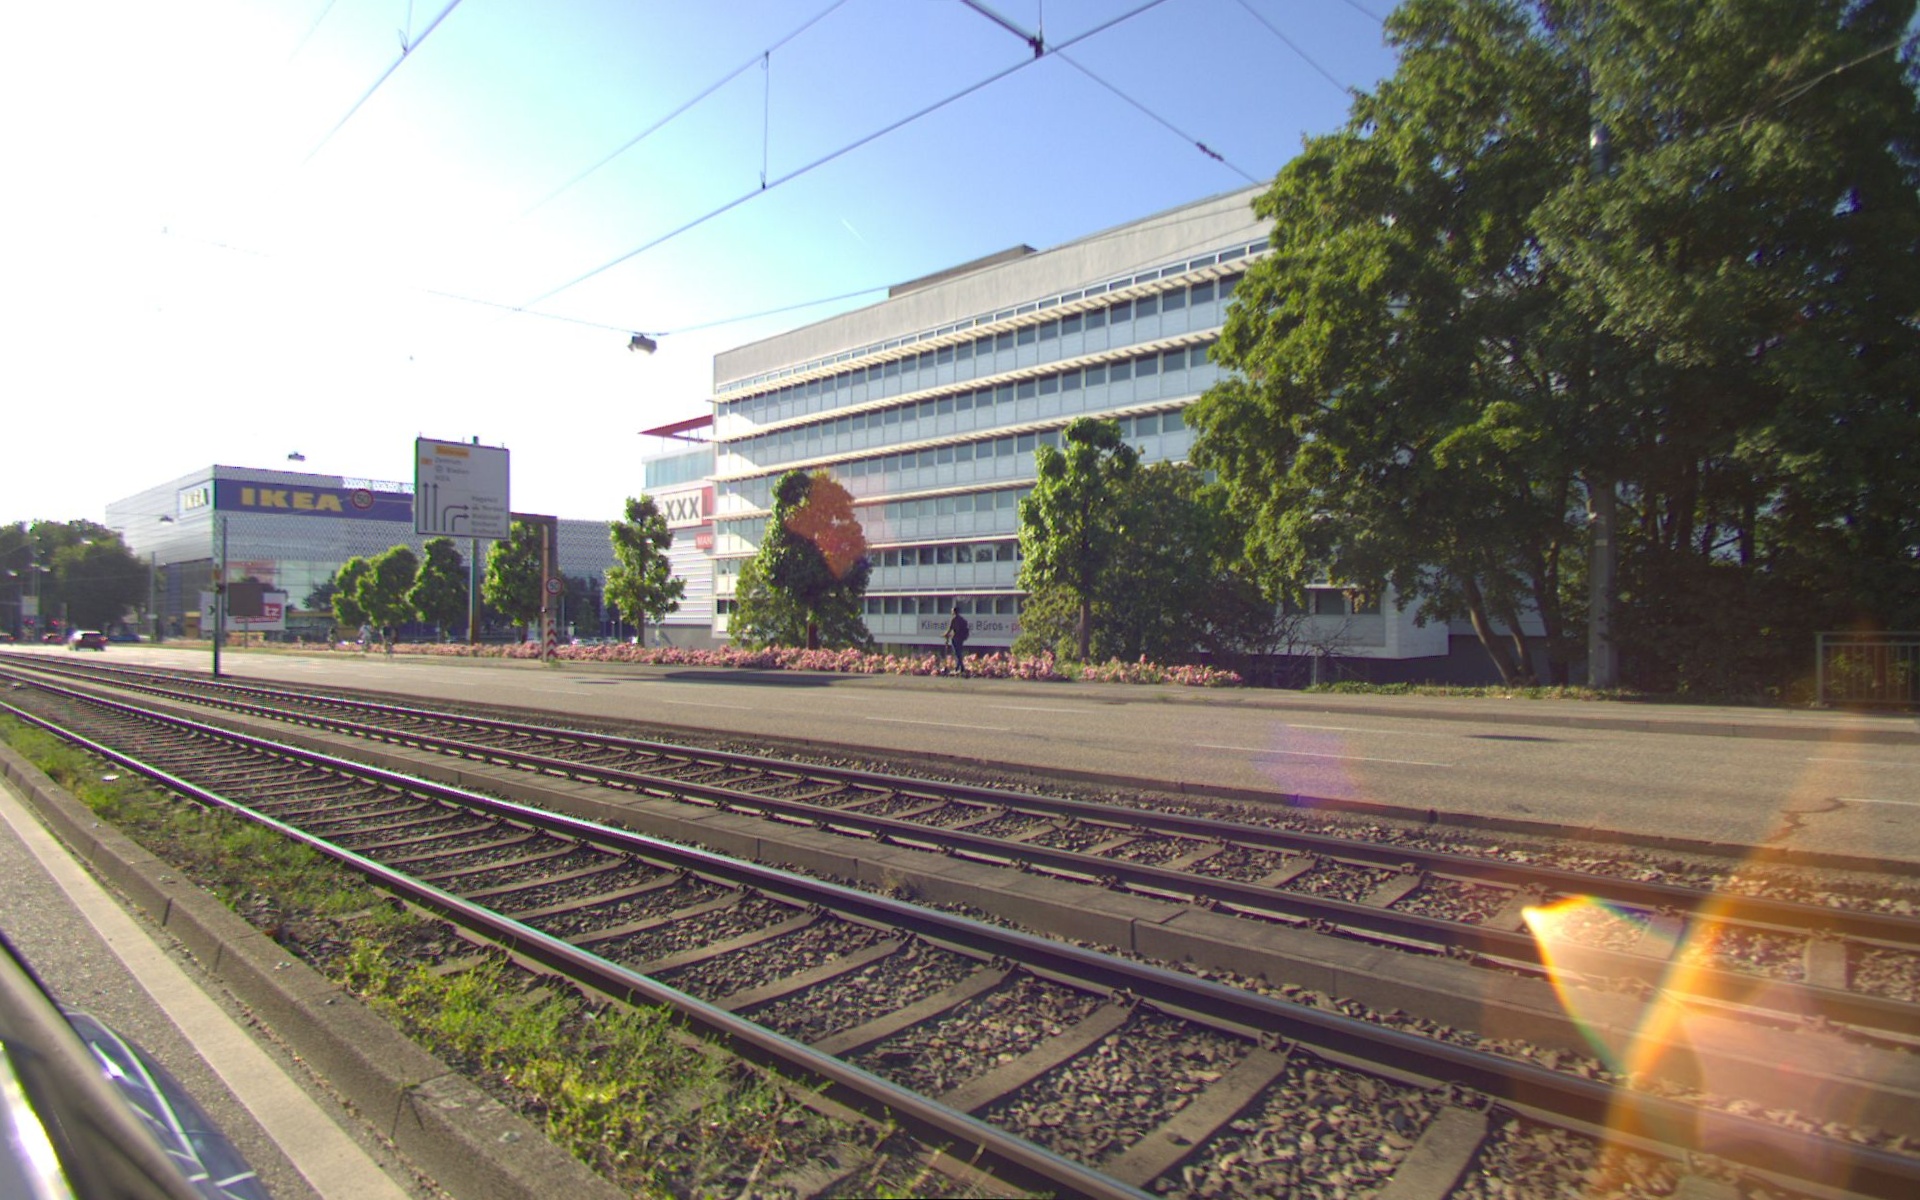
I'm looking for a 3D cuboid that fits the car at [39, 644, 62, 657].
[{"bbox_3d":[-112.380,6.255,125.077,1.911,1.488,4.138,4,-4,-41],"label":"car"}]

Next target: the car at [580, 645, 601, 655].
[{"bbox_3d":[-64.870,8.698,177.605,3.998,1.668,1.704,-2,-2,42],"label":"car"}]

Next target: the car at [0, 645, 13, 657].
[{"bbox_3d":[-116.445,6.204,122.748,4.133,1.472,1.838,-2,-2,39],"label":"car"}]

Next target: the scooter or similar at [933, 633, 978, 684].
[{"bbox_3d":[-0.126,1.538,26.928,0.466,1.306,1.263,1,-2,-43],"label":"scooter or similar"}]

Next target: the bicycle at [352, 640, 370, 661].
[{"bbox_3d":[-36.985,3.093,62.483,0.595,1.228,1.750,-2,0,-43],"label":"bicycle"}]

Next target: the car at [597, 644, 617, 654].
[{"bbox_3d":[-62.593,8.692,179.471,3.998,1.668,1.777,-2,-2,42],"label":"car"}]

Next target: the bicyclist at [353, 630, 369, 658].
[{"bbox_3d":[-36.971,2.726,62.453,0.595,1.671,0.964,-2,0,-43],"label":"bicyclist"}]

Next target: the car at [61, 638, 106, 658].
[{"bbox_3d":[-69.329,3.794,80.039,4.885,1.515,2.018,-2,-2,41],"label":"car"}]

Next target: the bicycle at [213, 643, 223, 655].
[{"bbox_3d":[-74.282,4.894,101.290,0.653,1.159,2.025,-2,0,-40],"label":"bicycle"}]

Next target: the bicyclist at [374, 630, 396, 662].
[{"bbox_3d":[-28.309,2.275,49.863,0.696,1.524,0.971,-2,0,-43],"label":"bicyclist"}]

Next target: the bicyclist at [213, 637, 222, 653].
[{"bbox_3d":[-74.380,4.494,101.389,0.653,1.635,0.802,-2,0,-40],"label":"bicyclist"}]

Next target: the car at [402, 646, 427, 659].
[{"bbox_3d":[-84.180,8.109,156.060,3.994,1.758,1.911,-2,0,37],"label":"car"}]

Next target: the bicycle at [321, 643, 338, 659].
[{"bbox_3d":[-44.116,3.559,70.774,0.617,1.067,1.704,1,-3,-45],"label":"bicycle"}]

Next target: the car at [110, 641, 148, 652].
[{"bbox_3d":[-126.491,7.141,154.088,4.194,1.509,2.017,4,-4,-44],"label":"car"}]

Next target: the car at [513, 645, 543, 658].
[{"bbox_3d":[-71.412,8.530,167.247,4.177,1.813,1.823,-2,0,6],"label":"car"}]

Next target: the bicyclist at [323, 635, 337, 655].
[{"bbox_3d":[-44.042,3.175,70.711,0.617,1.384,0.880,2,-3,-45],"label":"bicyclist"}]

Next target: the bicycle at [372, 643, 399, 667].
[{"bbox_3d":[-28.279,2.707,49.839,0.696,1.081,2.029,-2,0,-42],"label":"bicycle"}]

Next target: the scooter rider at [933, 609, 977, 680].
[{"bbox_3d":[-0.135,1.173,26.948,0.674,1.862,1.002,1,-3,-42],"label":"scooter rider"}]

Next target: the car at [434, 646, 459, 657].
[{"bbox_3d":[-81.243,8.078,160.027,3.994,1.605,1.911,-2,0,37],"label":"car"}]
